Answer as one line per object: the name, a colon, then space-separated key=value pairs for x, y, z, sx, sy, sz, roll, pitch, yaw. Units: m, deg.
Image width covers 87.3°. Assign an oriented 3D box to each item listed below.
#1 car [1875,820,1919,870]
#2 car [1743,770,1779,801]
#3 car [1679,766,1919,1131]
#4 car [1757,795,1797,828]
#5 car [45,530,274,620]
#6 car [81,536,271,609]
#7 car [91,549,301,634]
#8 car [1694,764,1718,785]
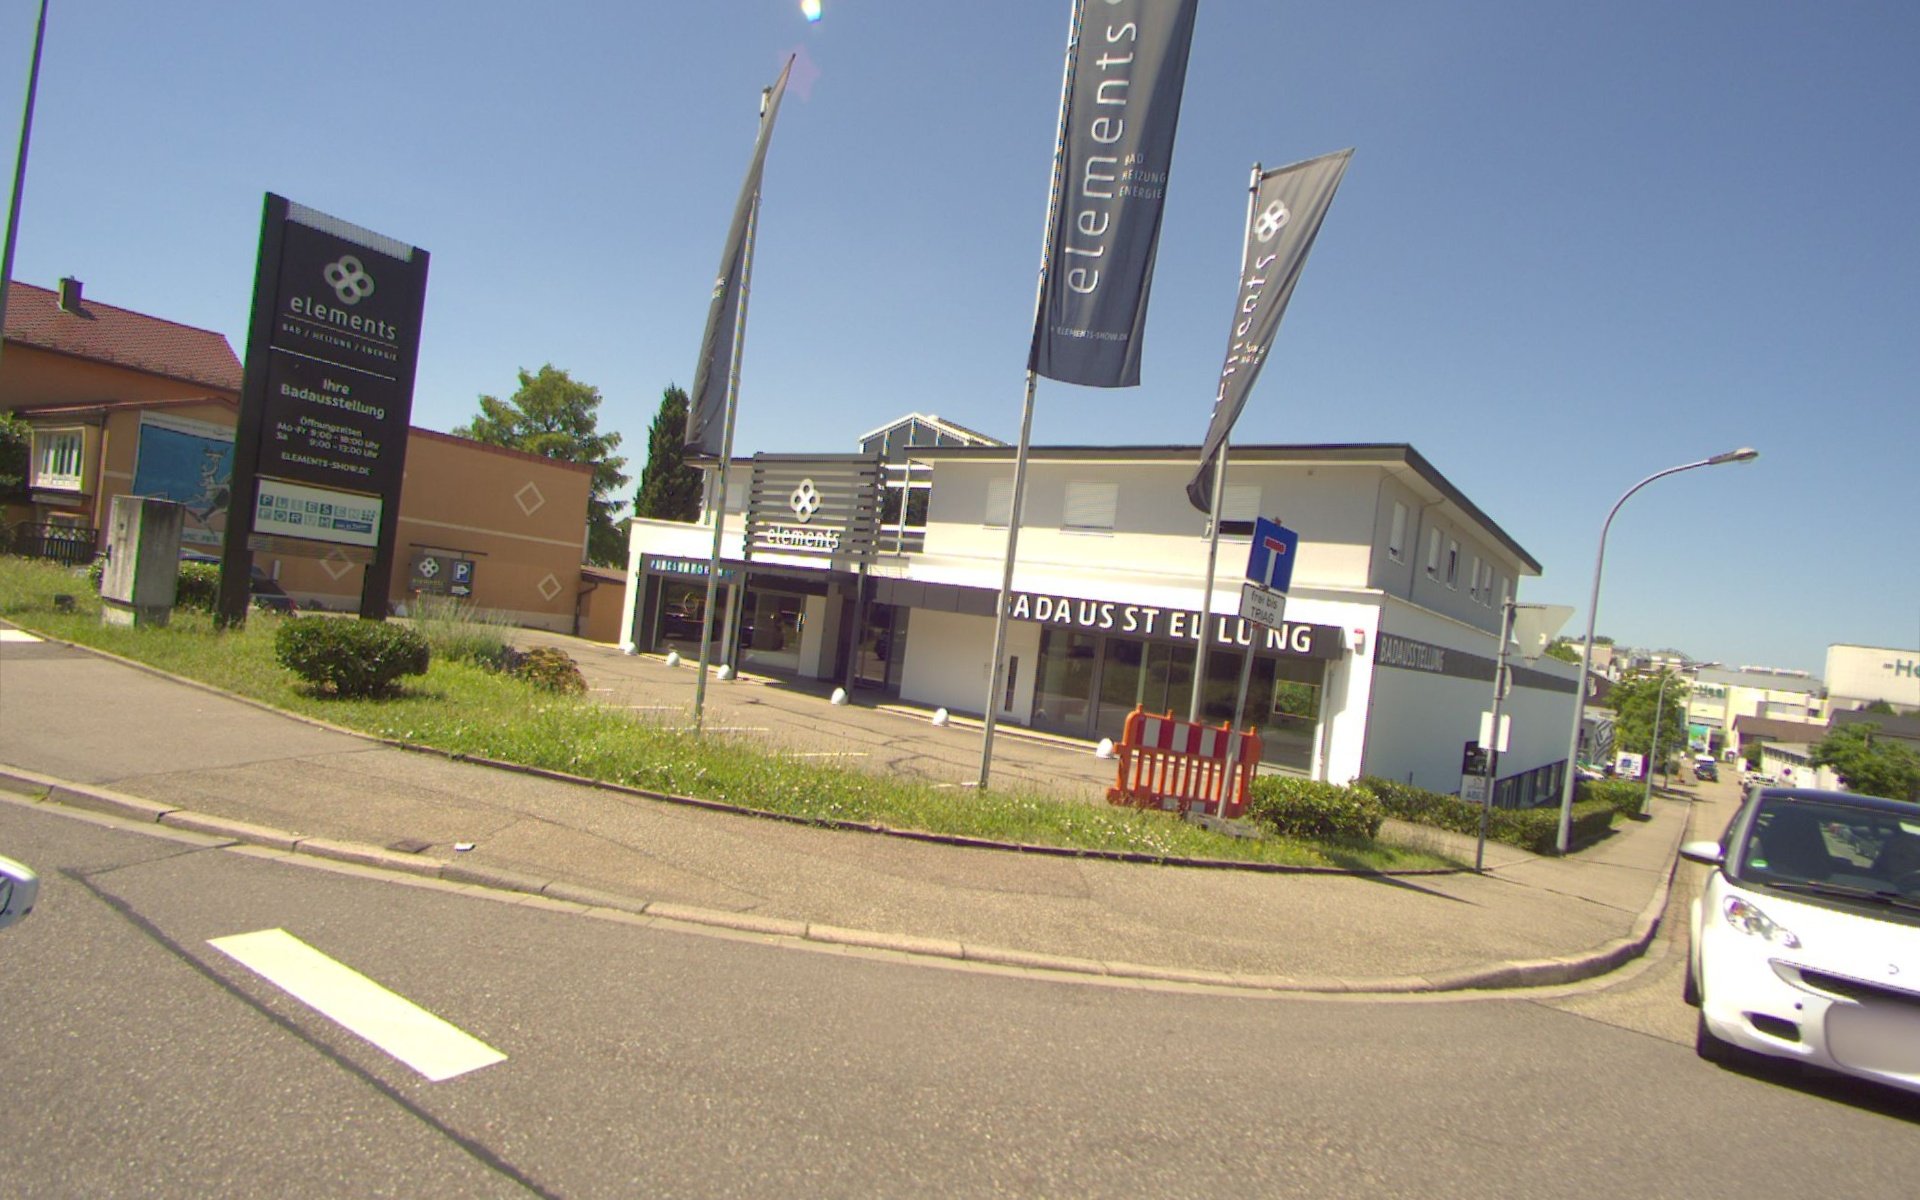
car: x=41.832 y=10.841 z=44.500 sx=1.754 sy=1.652 sz=3.853 roll=7 pitch=-2 yaw=41
car: x=60.675 y=14.040 z=76.203 sx=1.858 sy=1.869 sz=3.987 roll=8 pitch=-2 yaw=39
car: x=5.209 y=1.888 z=5.834 sx=1.573 sy=1.534 sz=2.772 roll=4 pitch=-7 yaw=37
car: x=50.529 y=13.034 z=62.236 sx=1.739 sy=1.482 sz=3.910 roll=7 pitch=-2 yaw=39
car: x=-21.097 y=-0.609 z=26.689 sx=1.859 sy=1.665 sz=4.279 roll=8 pitch=-2 yaw=34
car: x=-24.267 y=-0.812 z=31.274 sx=1.862 sy=1.618 sz=4.258 roll=7 pitch=-1 yaw=39
car: x=-18.291 y=-0.164 z=24.207 sx=1.673 sy=1.433 sz=3.623 roll=8 pitch=-2 yaw=38
car: x=80.959 y=18.926 z=109.232 sx=1.928 sy=1.736 sz=3.526 roll=8 pitch=-2 yaw=37
